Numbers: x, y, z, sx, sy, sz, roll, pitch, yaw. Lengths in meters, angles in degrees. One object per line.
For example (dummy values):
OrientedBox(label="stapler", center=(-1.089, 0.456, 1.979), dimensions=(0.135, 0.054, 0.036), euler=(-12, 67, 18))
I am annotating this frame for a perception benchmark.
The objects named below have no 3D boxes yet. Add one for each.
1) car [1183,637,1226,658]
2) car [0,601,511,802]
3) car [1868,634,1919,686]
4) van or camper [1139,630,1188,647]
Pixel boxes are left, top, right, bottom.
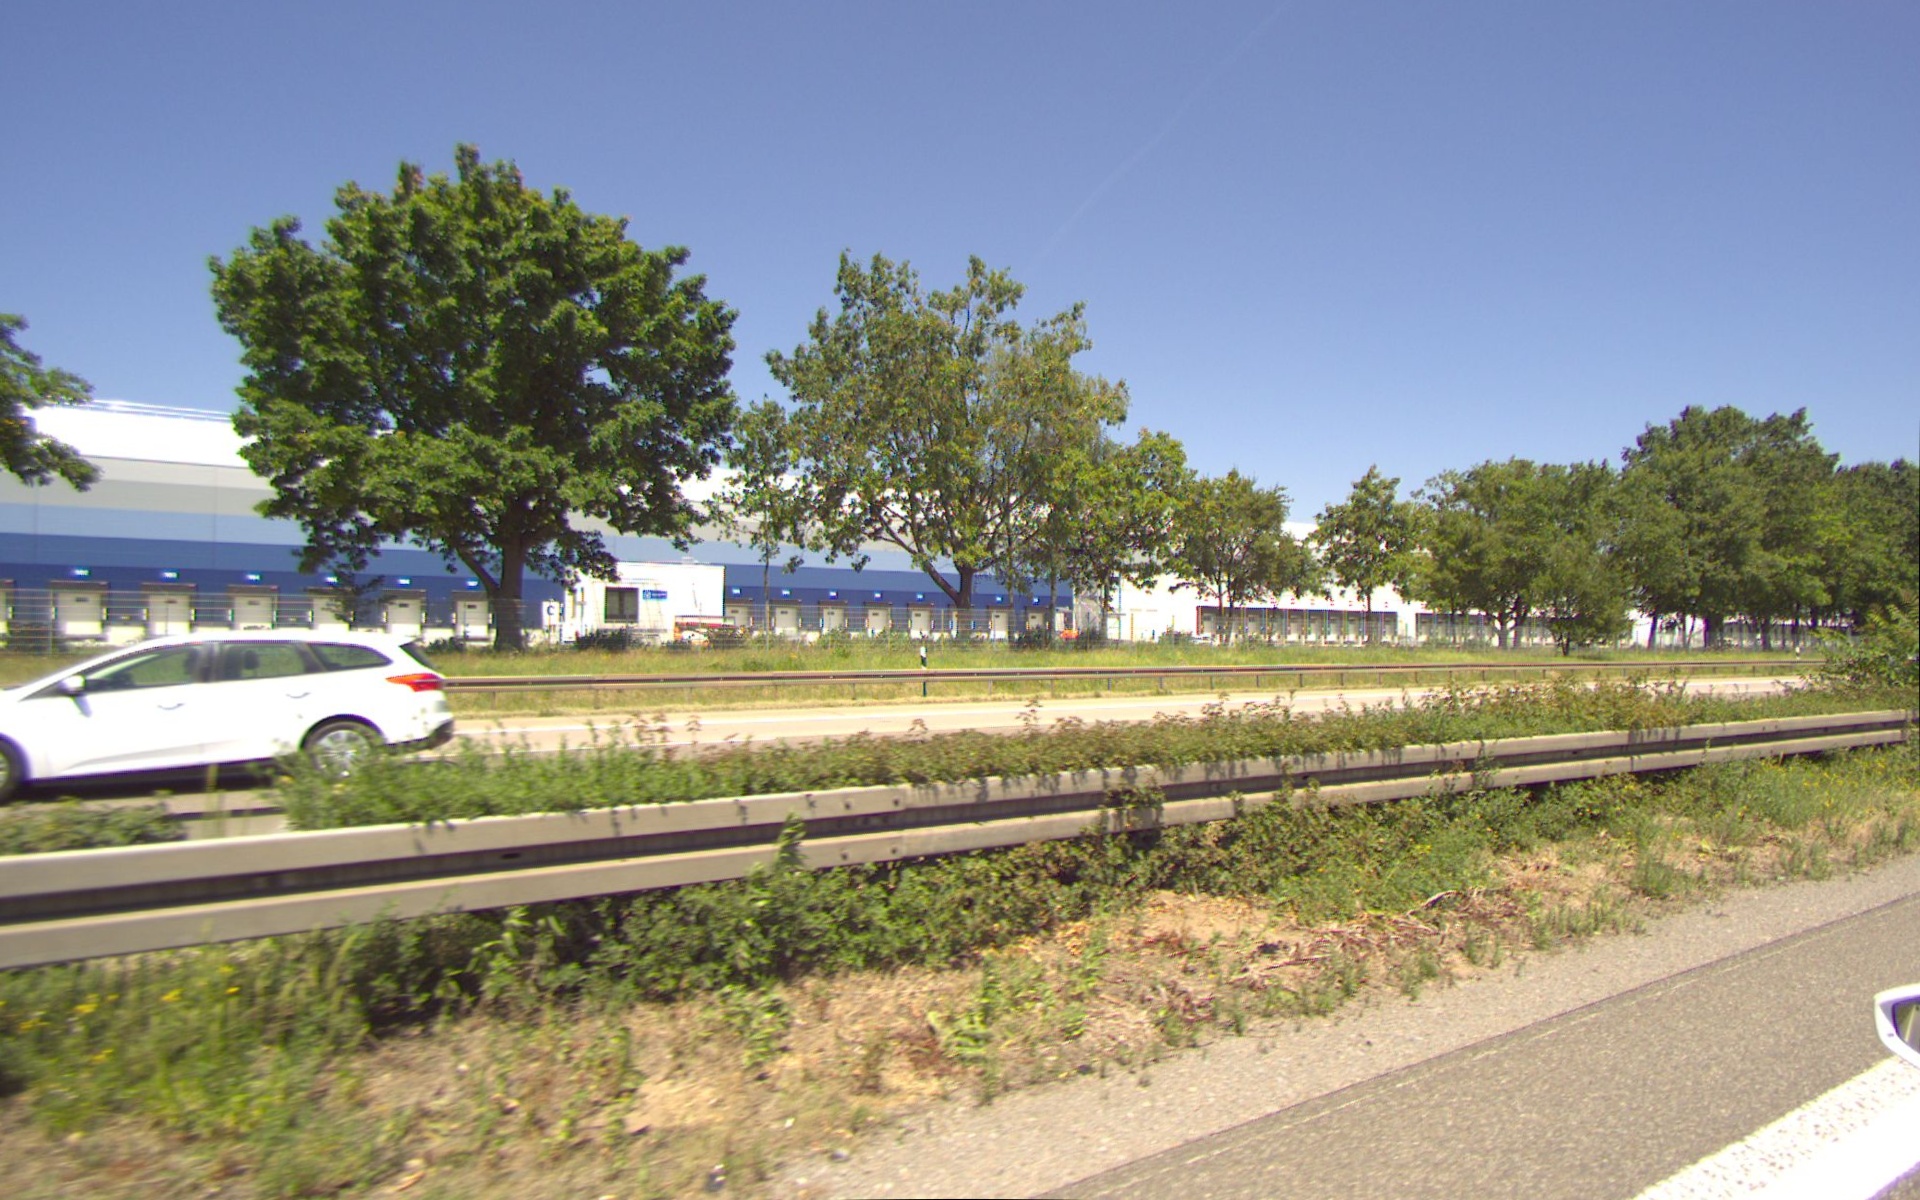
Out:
OrientedBox(label="car", center=(24.486, 4.702, 100.545), dimensions=(3.954, 2.040, 1.984), euler=(2, -2, -31))
OrientedBox(label="car", center=(-7.208, 0.944, 9.978), dimensions=(4.804, 1.661, 1.984), euler=(2, -5, -32))
OrientedBox(label="car", center=(33.361, 2.043, 34.509), dimensions=(4.758, 1.704, 1.837), euler=(2, -3, -31))
OrientedBox(label="van or camper", center=(21.264, 4.016, 104.709), dimensions=(4.961, 1.674, 1.984), euler=(2, -2, -30))
